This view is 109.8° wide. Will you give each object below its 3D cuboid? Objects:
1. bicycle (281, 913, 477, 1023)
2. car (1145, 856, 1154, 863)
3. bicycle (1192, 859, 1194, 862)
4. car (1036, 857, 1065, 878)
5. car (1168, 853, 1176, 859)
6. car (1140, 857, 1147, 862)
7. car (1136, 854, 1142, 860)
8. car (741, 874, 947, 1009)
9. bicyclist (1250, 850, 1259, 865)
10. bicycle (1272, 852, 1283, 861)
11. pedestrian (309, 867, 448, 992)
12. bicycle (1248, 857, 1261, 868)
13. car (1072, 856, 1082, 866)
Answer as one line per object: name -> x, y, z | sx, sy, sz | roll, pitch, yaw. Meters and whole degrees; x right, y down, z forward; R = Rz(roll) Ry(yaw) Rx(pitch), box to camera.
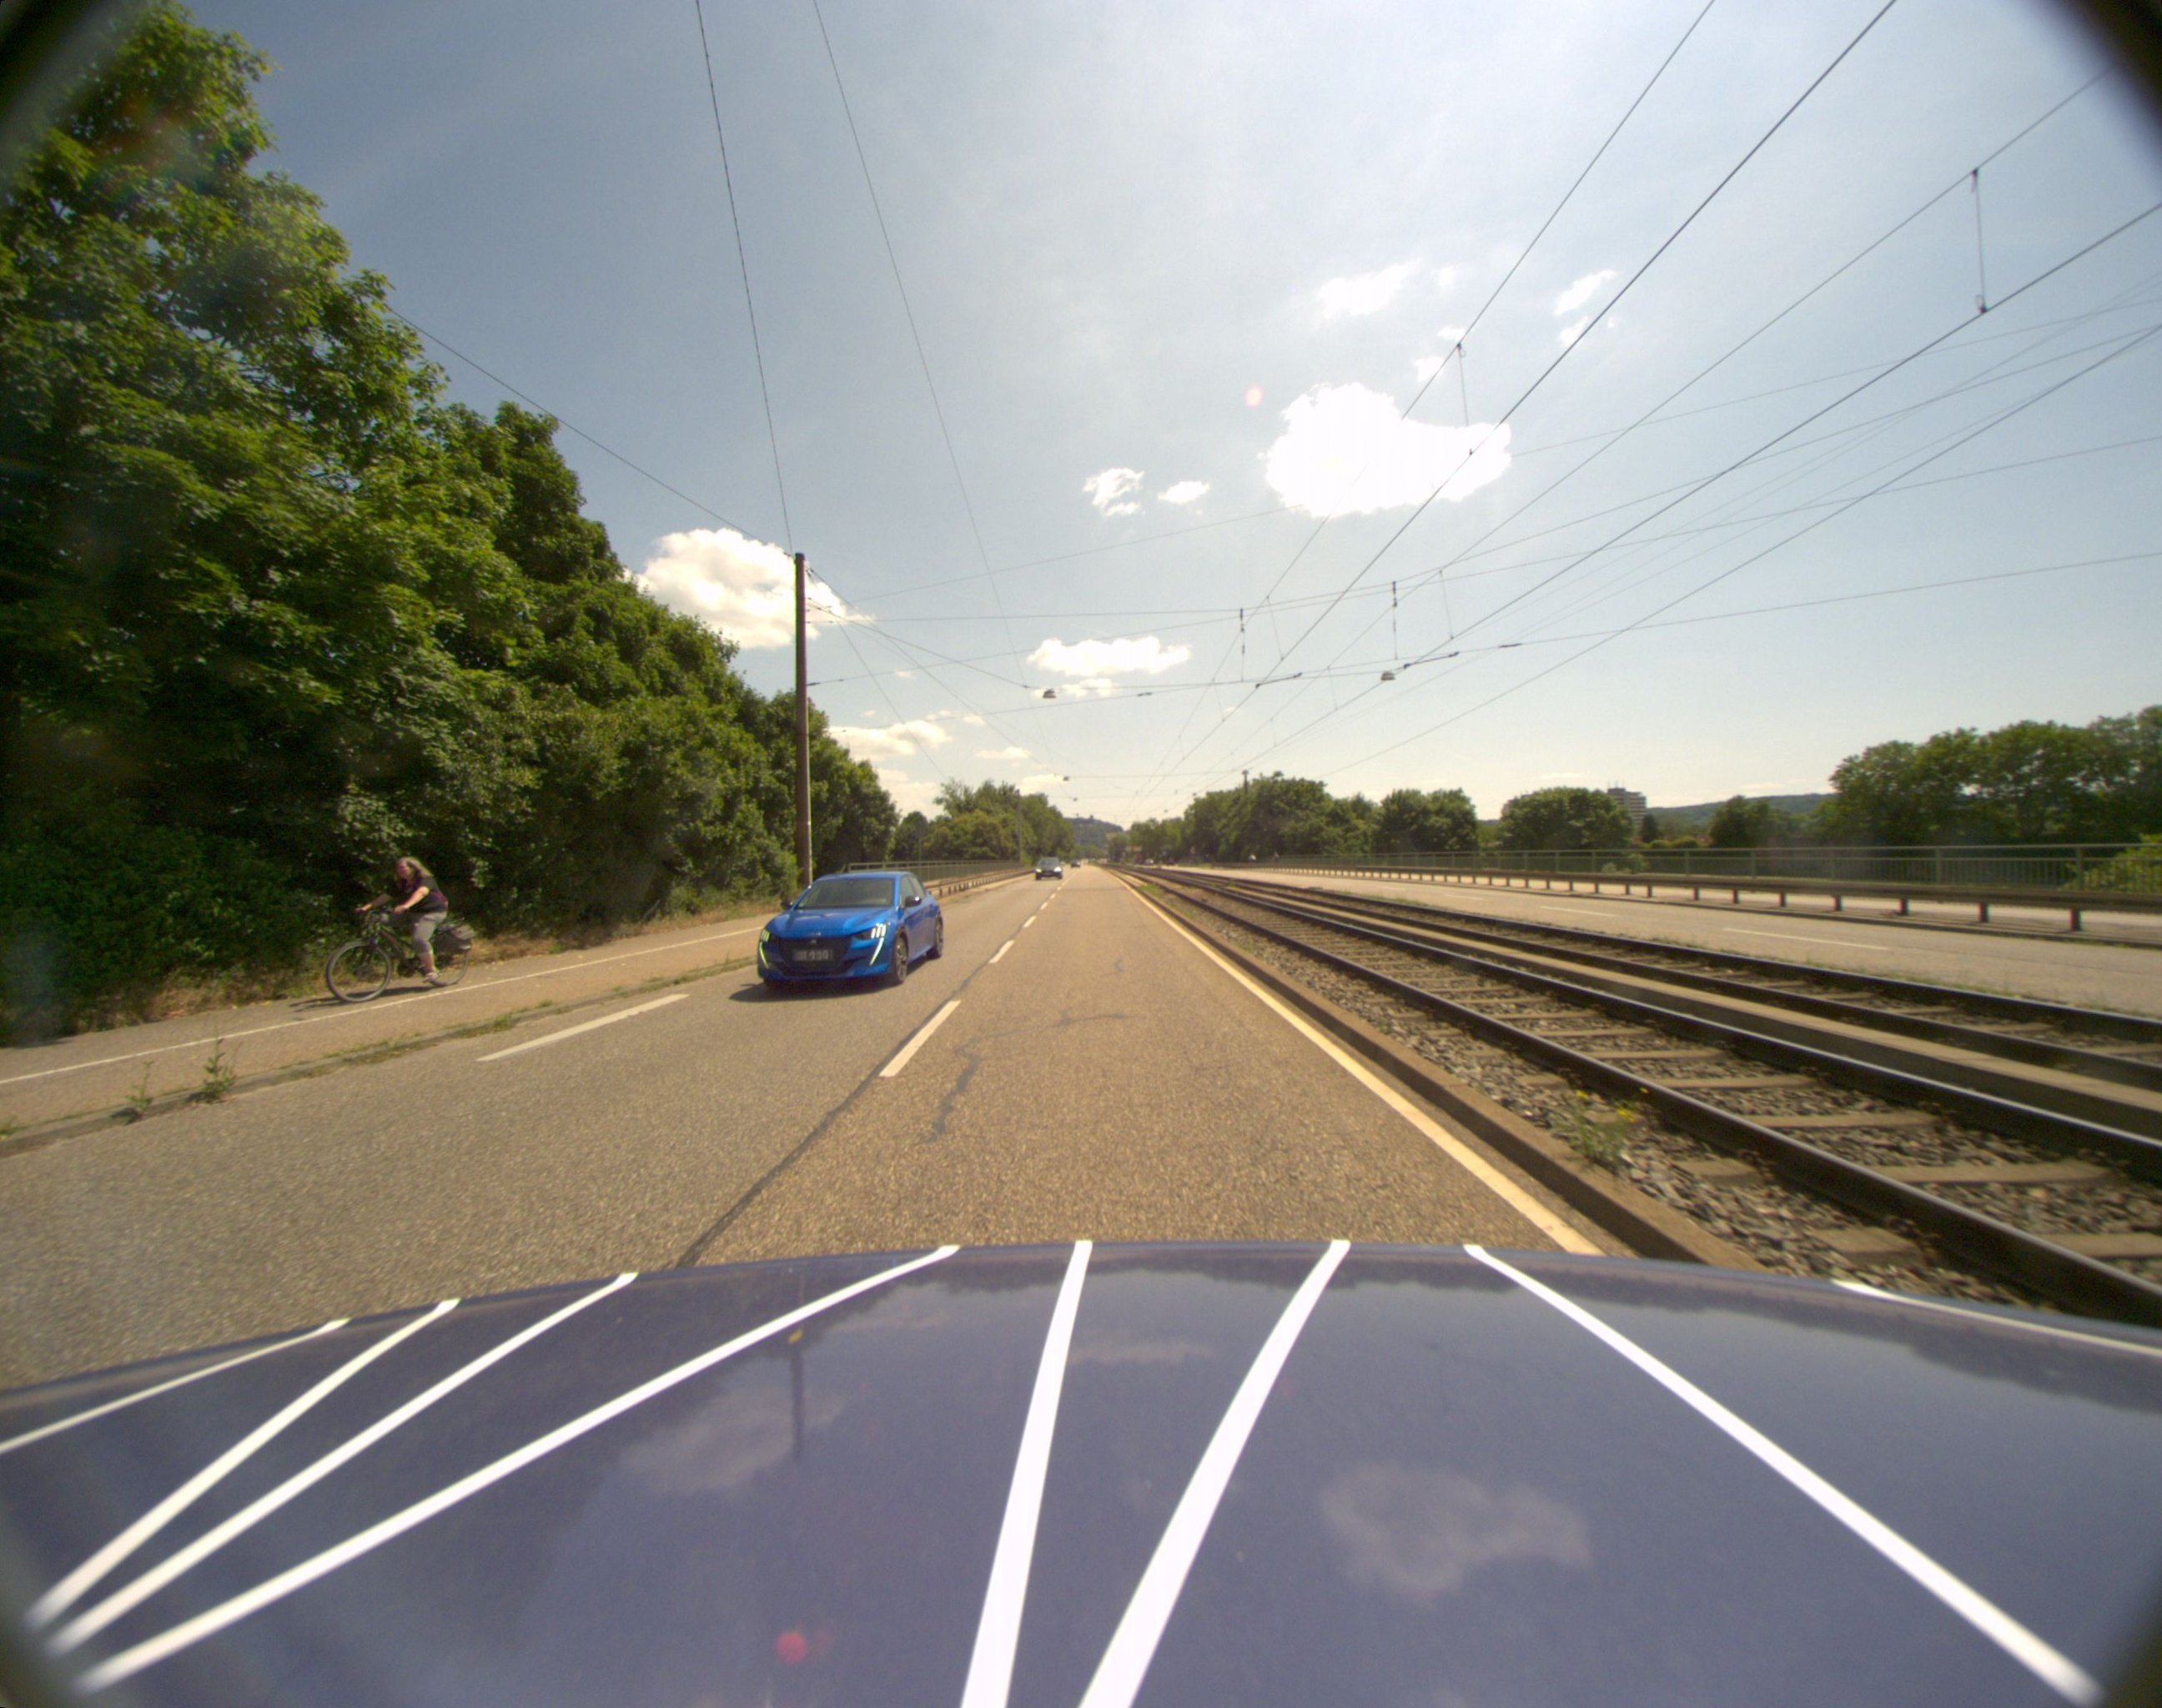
bicycle -> -8.238, 1.289, 9.045 | 0.561, 1.018, 1.848 | -1, 1, 1
car -> 15.514, 1.256, 171.621 | 1.715, 1.412, 4.624 | 0, 0, 1
bicycle -> 27.137, 1.545, 184.112 | 0.587, 0.814, 2.069 | -3, 1, 6
car -> -2.125, 0.929, 53.708 | 1.769, 1.359, 3.743 | -2, 0, 0
car -> 20.947, 0.558, 175.320 | 1.567, 1.339, 3.929 | 0, 0, 1
car -> 16.935, 1.425, 207.180 | 1.578, 1.392, 3.938 | -1, 0, 0
car -> 18.542, 1.027, 243.776 | 1.816, 1.914, 5.179 | 0, 0, 1
car -> -3.104, 1.073, 10.757 | 1.660, 1.397, 3.743 | -2, 0, 0
bicyclist -> 19.342, 0.349, 84.873 | 0.765, 1.612, 0.838 | -2, 1, 0
bicycle -> 18.807, 0.262, 72.747 | 0.524, 0.838, 2.036 | -3, 0, -1
pedestrian -> -8.274, 0.850, 9.002 | 0.629, 1.366, 1.050 | -1, 1, 1
bicycle -> 19.365, 0.912, 84.812 | 0.859, 1.178, 2.062 | -2, 0, 0
car -> -0.794, 1.360, 150.501 | 1.999, 2.002, 4.000 | -2, 0, 0
